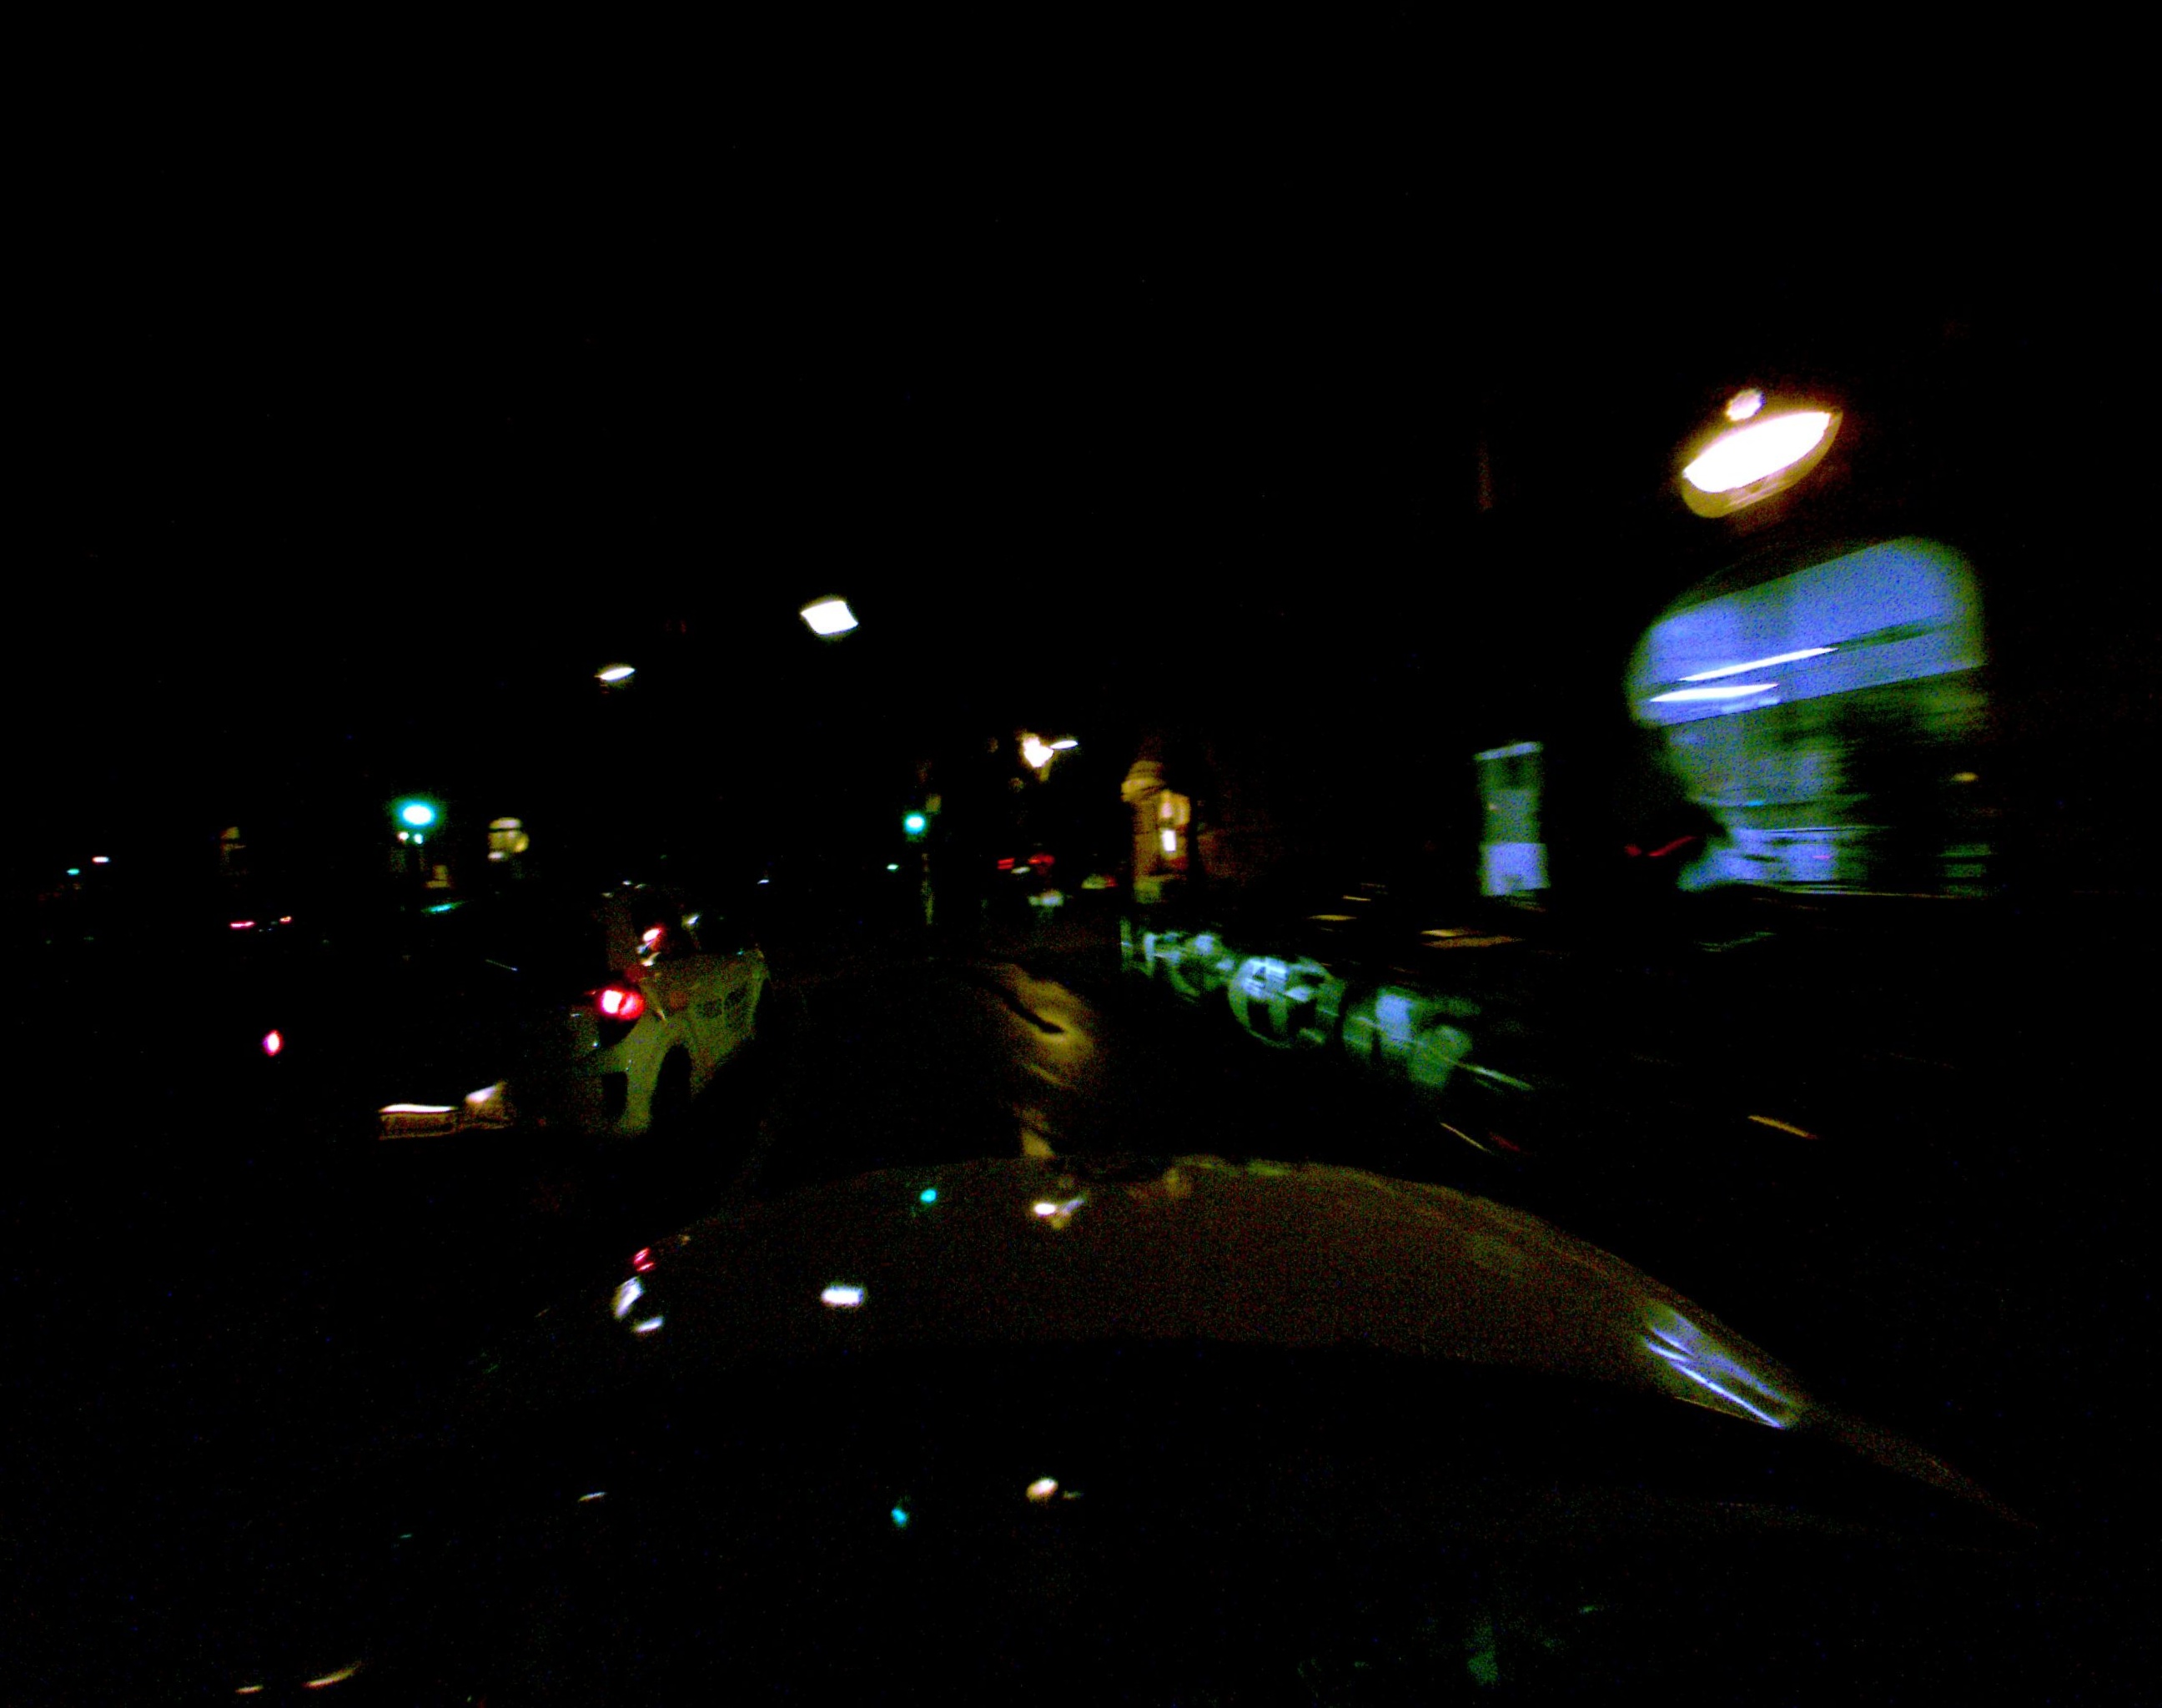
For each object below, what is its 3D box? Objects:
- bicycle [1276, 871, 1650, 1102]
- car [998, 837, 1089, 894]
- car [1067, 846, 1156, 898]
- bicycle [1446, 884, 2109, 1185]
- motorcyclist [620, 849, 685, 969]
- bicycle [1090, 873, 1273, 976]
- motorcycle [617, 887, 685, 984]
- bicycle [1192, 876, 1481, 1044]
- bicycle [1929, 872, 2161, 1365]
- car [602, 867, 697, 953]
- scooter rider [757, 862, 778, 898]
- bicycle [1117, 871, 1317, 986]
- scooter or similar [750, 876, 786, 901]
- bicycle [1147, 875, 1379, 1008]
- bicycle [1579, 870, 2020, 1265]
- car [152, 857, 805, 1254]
[{"bbox_3d":[2.206,0.692,4.741,1.971,1.065,0.639,-3,0,-15],"label":"bicycle"},{"bbox_3d":[-1.615,0.458,37.735,2.198,2.441,5.412,-2,0,20],"label":"car"},{"bbox_3d":[1.148,0.605,29.306,1.632,1.525,3.603,-7,-2,28],"label":"car"},{"bbox_3d":[2.644,0.690,3.358,1.954,1.006,0.645,-3,0,14],"label":"bicycle"},{"bbox_3d":[-6.329,0.782,12.063,0.794,1.695,0.813,-1,-1,-27],"label":"motorcyclist"},{"bbox_3d":[1.165,0.782,9.483,1.971,1.006,0.639,-3,0,-15],"label":"bicycle"},{"bbox_3d":[-6.319,1.134,12.033,0.793,1.213,2.230,-1,-1,-27],"label":"motorcycle"},{"bbox_3d":[1.892,0.730,6.064,1.971,1.006,0.639,-3,0,-15],"label":"bicycle"},{"bbox_3d":[3.365,0.599,2.148,1.822,1.087,0.718,-3,0,-14],"label":"bicycle"},{"bbox_3d":[-10.101,1.199,18.965,1.759,1.739,3.762,-1,-1,-30],"label":"car"},{"bbox_3d":[-14.093,1.154,36.619,0.634,1.573,0.656,0,0,40],"label":"scooter rider"},{"bbox_3d":[1.441,0.755,8.700,1.971,1.035,0.639,-3,0,-15],"label":"bicycle"},{"bbox_3d":[-14.085,1.553,36.628,0.634,1.052,1.378,0,0,40],"label":"scooter or similar"},{"bbox_3d":[1.670,0.761,7.508,1.971,1.006,0.639,-3,0,-15],"label":"bicycle"},{"bbox_3d":[2.863,0.652,3.184,1.981,1.053,0.636,-3,0,-29],"label":"bicycle"},{"bbox_3d":[-3.135,0.834,5.294,1.919,1.516,3.585,-4,0,-10],"label":"car"}]
